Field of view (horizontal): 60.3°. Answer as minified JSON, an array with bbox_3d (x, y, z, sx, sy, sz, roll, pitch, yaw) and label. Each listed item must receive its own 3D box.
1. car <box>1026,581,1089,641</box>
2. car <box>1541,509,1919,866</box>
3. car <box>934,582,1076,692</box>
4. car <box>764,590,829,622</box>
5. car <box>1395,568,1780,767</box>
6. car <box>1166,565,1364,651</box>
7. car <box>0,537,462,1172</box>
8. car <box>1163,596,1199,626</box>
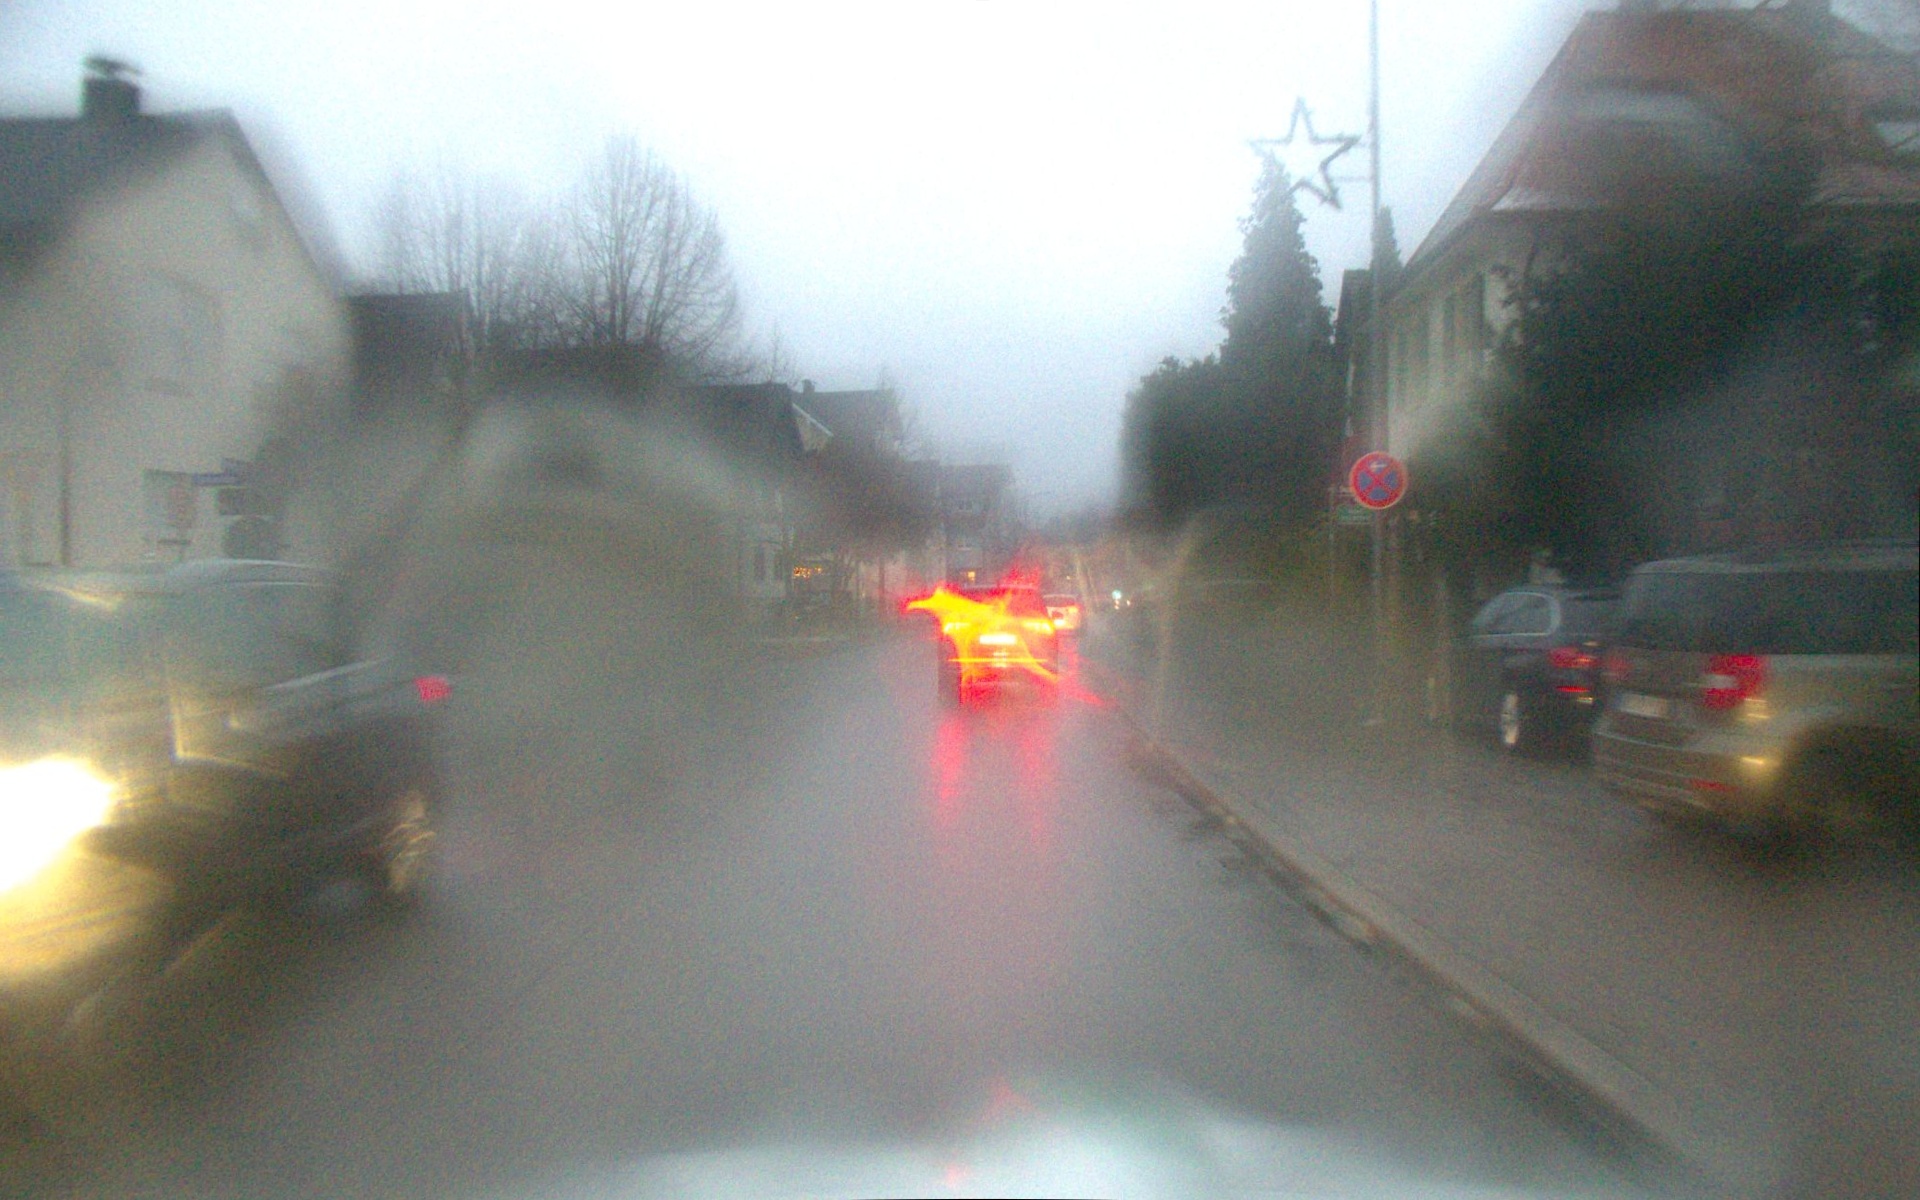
[{"bbox_3d":[3.498,0.393,58.917,1.951,2.049,4.003,1,0,7],"label":"car"},{"bbox_3d":[5.584,0.421,9.151,4.018,1.736,2.000,-1,-1,-1],"label":"car"},{"bbox_3d":[0.601,0.517,25.383,1.953,1.552,3.999,0,0,-2],"label":"car"},{"bbox_3d":[-7.385,0.267,75.069,1.744,1.390,4.003,1,0,13],"label":"car"},{"bbox_3d":[5.632,0.520,15.573,1.854,1.581,4.756,0,0,0],"label":"car"},{"bbox_3d":[7.119,0.174,38.937,4.234,1.762,2.000,-3,0,0],"label":"car"},{"bbox_3d":[-3.429,0.675,6.296,1.777,1.661,4.224,-2,0,-1],"label":"car"},{"bbox_3d":[11.872,0.563,88.577,1.614,1.567,3.393,0,0,13],"label":"car"}]
